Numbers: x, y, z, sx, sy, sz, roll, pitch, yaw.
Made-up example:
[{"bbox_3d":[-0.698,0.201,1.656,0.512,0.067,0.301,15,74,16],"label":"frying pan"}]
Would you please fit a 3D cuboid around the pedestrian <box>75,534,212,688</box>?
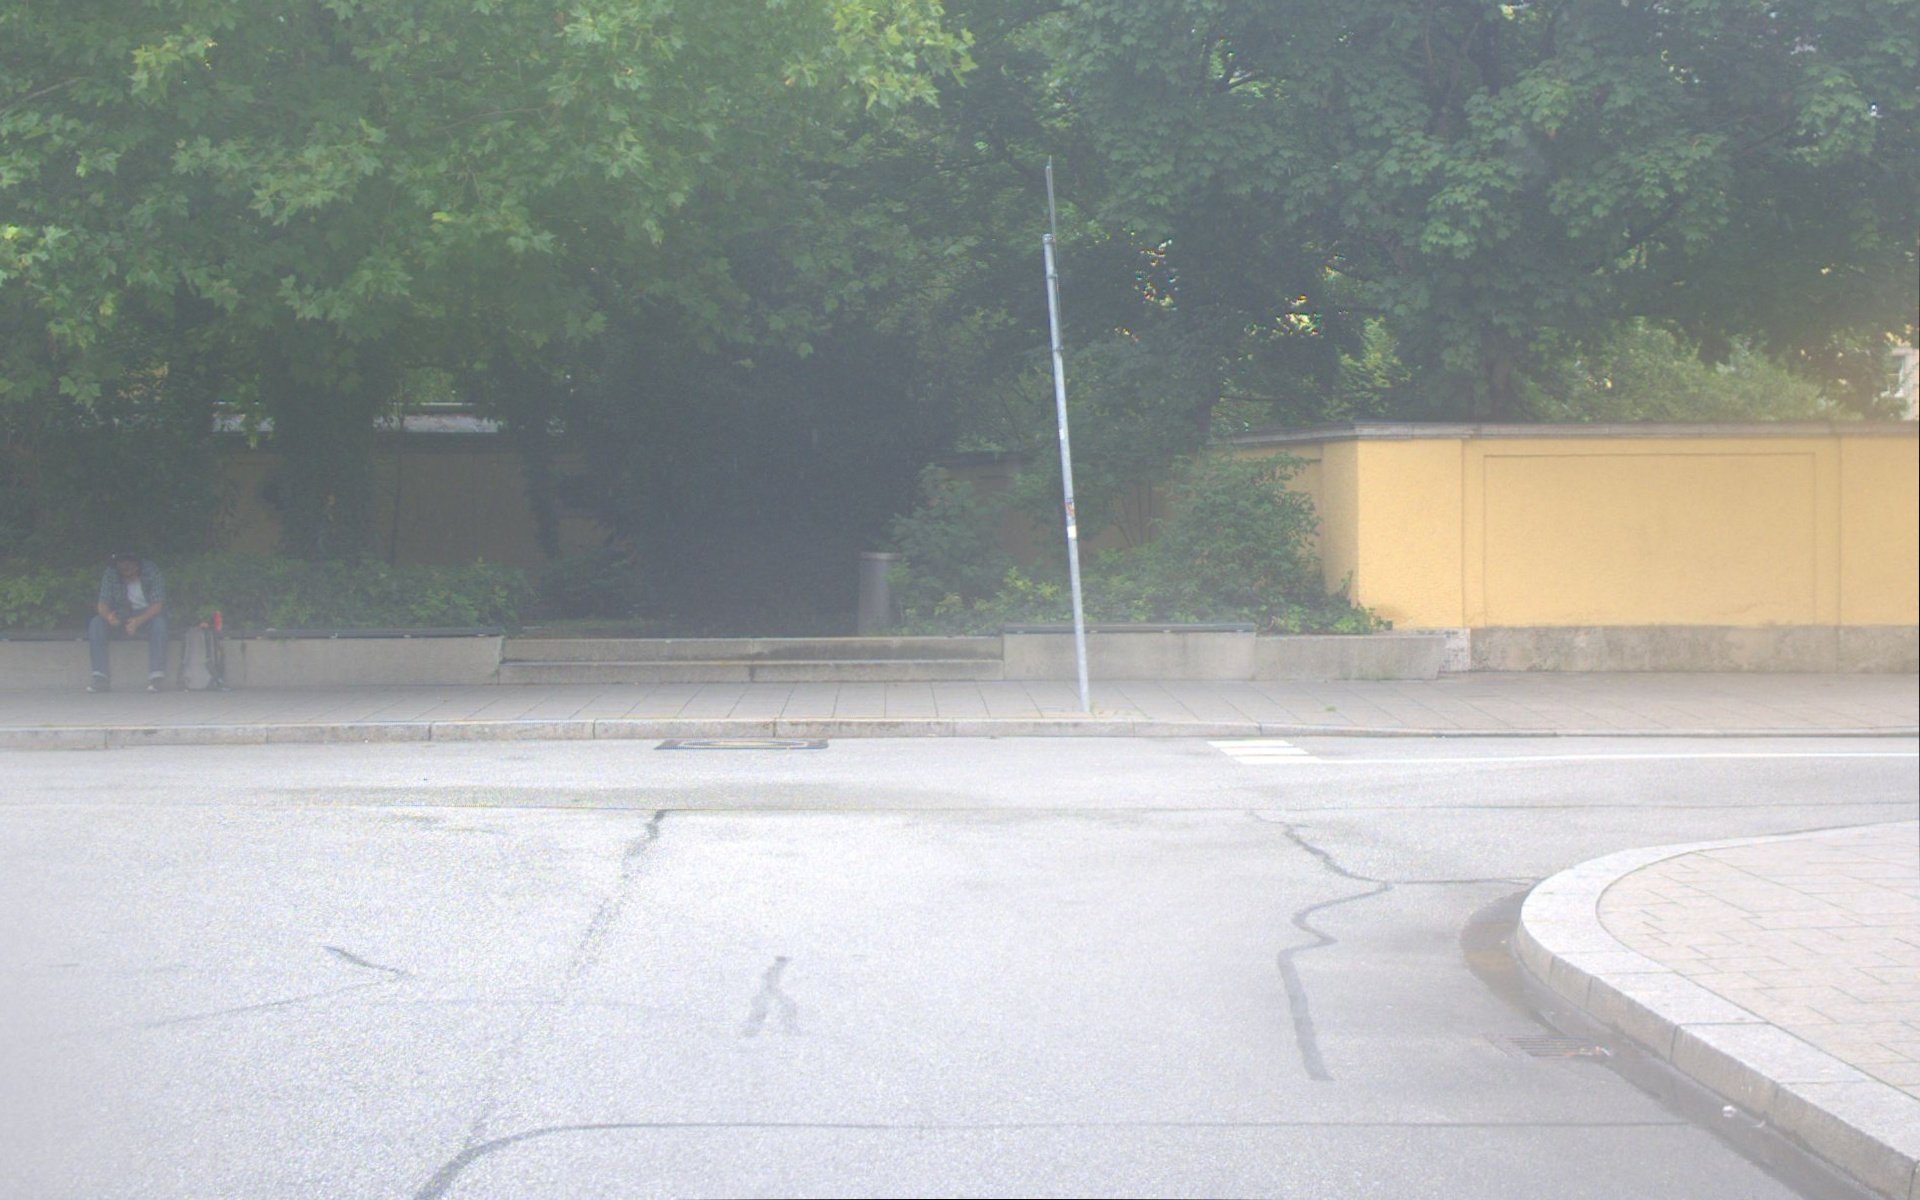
[{"bbox_3d":[-6.391,0.074,26.938,0.812,1.185,0.919,0,1,3],"label":"pedestrian"}]
